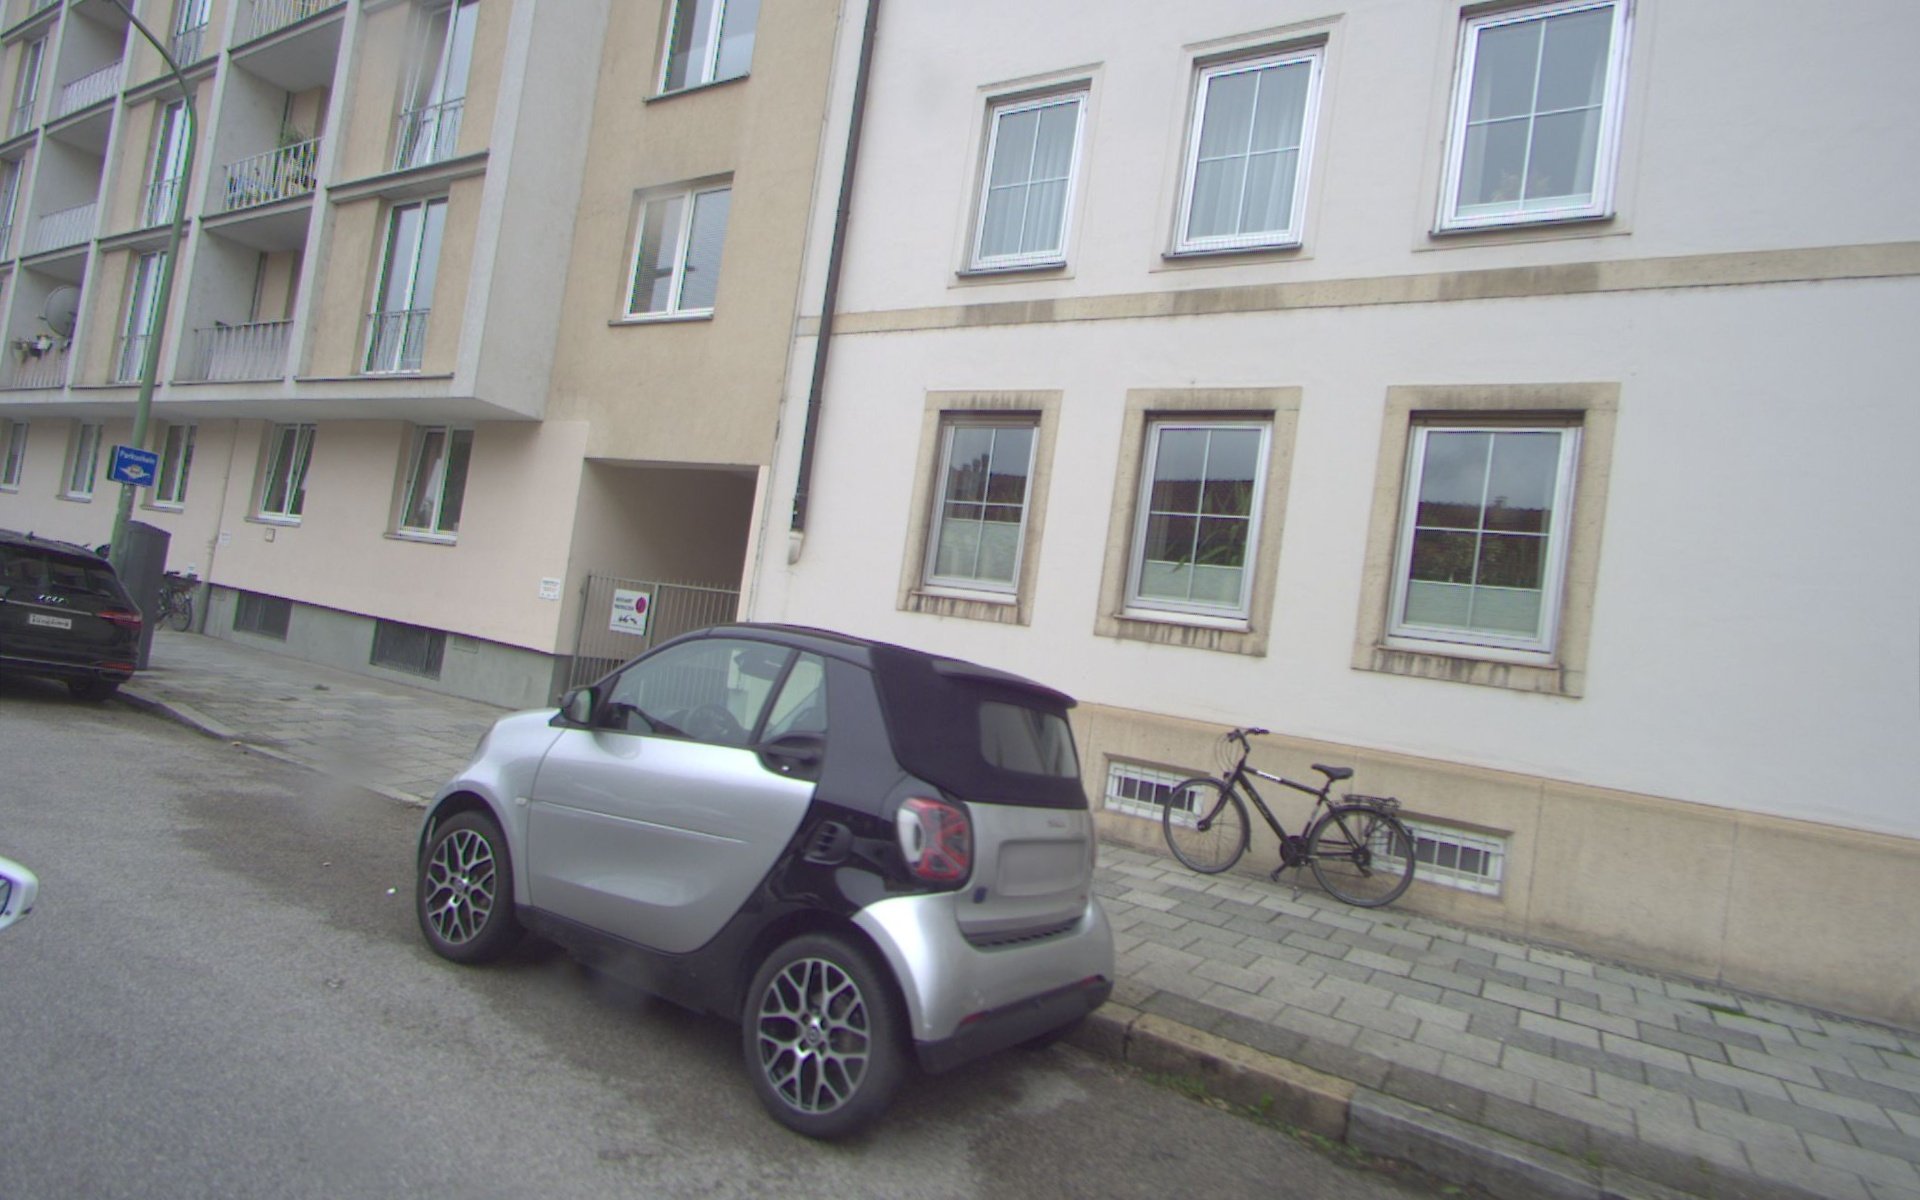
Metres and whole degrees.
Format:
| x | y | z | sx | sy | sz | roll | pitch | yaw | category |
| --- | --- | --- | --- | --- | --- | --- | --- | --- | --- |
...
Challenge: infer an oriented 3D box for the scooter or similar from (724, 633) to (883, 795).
| x | y | z | sx | sy | sz | roll | pitch | yaw | category |
| --- | --- | --- | --- | --- | --- | --- | --- | --- | --- |
| -1.441 | 1.041 | 9.312 | 1.077 | 1.289 | 0.731 | 7 | -2 | 31 | scooter or similar |

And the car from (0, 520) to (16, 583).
| x | y | z | sx | sy | sz | roll | pitch | yaw | category |
| --- | --- | --- | --- | --- | --- | --- | --- | --- | --- |
| -13.725 | -0.570 | 12.393 | 4.050 | 1.481 | 1.711 | 6 | -7 | 29 | car |

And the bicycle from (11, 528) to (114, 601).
| x | y | z | sx | sy | sz | roll | pitch | yaw | category |
| --- | --- | --- | --- | --- | --- | --- | --- | --- | --- |
| -16.536 | -0.628 | 18.570 | 0.386 | 1.217 | 1.342 | 6 | 0 | 17 | bicycle |

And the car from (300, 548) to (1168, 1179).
| x | y | z | sx | sy | sz | roll | pitch | yaw | category |
| --- | --- | --- | --- | --- | --- | --- | --- | --- | --- |
| -1.051 | 0.831 | 4.404 | 3.324 | 1.530 | 1.622 | 7 | -7 | 32 | car |

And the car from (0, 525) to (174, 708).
| x | y | z | sx | sy | sz | roll | pitch | yaw | category |
| --- | --- | --- | --- | --- | --- | --- | --- | --- | --- |
| -9.635 | -0.084 | 9.570 | 4.416 | 1.395 | 1.834 | 7 | -5 | 32 | car |

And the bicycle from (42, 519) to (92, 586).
| x | y | z | sx | sy | sz | roll | pitch | yaw | category |
| --- | --- | --- | --- | --- | --- | --- | --- | --- | --- |
| -17.456 | -0.940 | 19.657 | 1.321 | 1.217 | 0.392 | 6 | 1 | 36 | bicycle |

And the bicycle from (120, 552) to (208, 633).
| x | y | z | sx | sy | sz | roll | pitch | yaw | category |
| --- | --- | --- | --- | --- | --- | --- | --- | --- | --- |
| -13.476 | -0.134 | 17.023 | 1.574 | 1.170 | 0.514 | 6 | -1 | 30 | bicycle |

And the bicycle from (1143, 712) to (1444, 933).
| x | y | z | sx | sy | sz | roll | pitch | yaw | category |
| --- | --- | --- | --- | --- | --- | --- | --- | --- | --- |
| 2.312 | 1.481 | 7.063 | 1.806 | 1.105 | 0.630 | 7 | 0 | 31 | bicycle |

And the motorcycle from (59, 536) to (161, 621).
| x | y | z | sx | sy | sz | roll | pitch | yaw | category |
| --- | --- | --- | --- | --- | --- | --- | --- | --- | --- |
| -15.225 | -0.396 | 18.002 | 2.006 | 1.286 | 0.637 | 6 | -1 | 30 | motorcycle |
